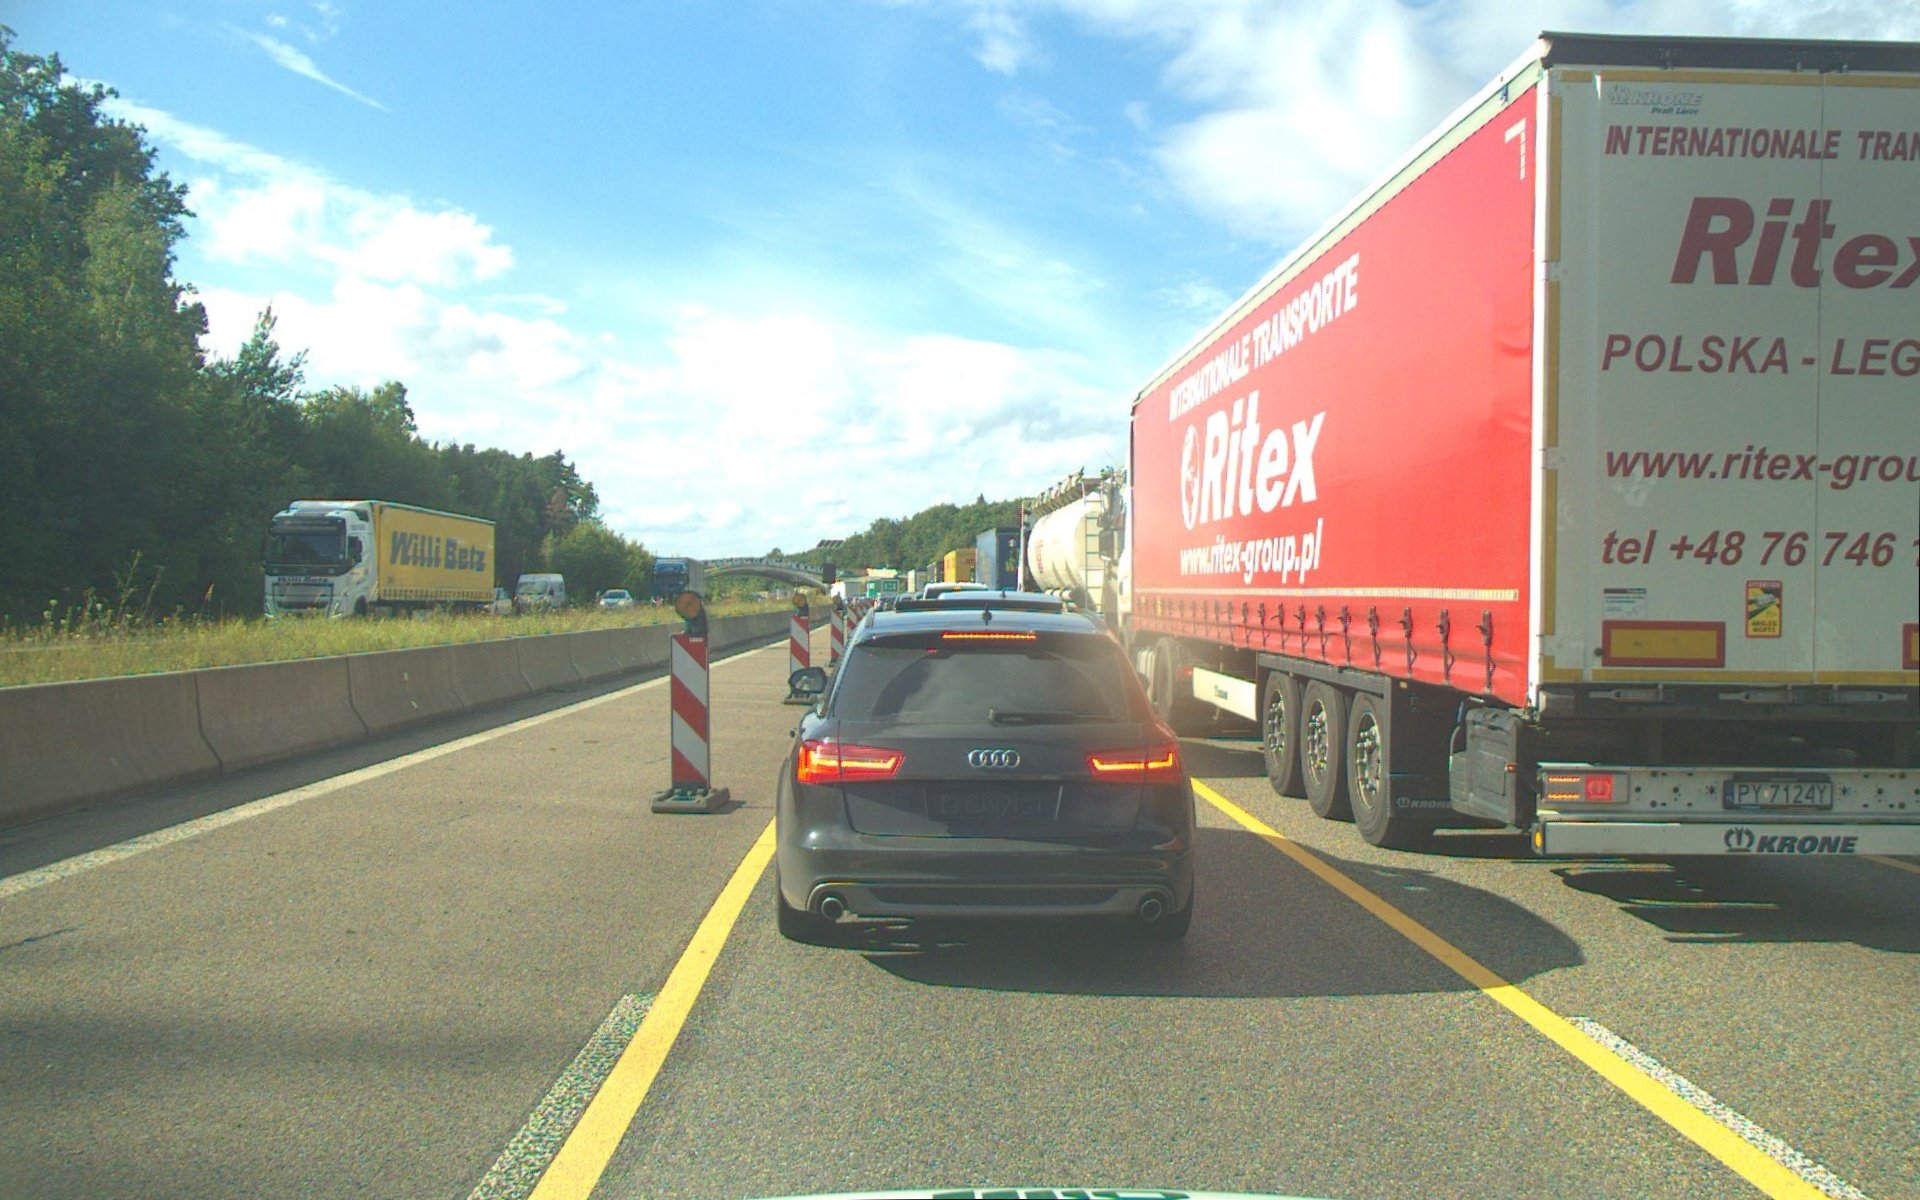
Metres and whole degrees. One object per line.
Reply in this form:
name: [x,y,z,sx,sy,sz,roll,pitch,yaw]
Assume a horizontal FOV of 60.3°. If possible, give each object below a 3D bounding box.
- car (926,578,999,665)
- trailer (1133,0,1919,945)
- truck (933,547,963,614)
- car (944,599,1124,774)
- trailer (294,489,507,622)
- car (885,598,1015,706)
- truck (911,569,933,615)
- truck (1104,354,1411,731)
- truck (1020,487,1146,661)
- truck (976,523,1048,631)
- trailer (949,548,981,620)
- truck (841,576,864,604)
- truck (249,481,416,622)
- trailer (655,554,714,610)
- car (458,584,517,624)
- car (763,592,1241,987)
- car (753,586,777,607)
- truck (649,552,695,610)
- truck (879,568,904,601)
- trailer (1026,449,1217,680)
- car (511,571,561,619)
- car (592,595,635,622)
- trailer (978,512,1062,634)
car: [0.024,0.477,37.430,1.549,1.869,3.111,1,0,-1]
trailer: [3.646,-0.576,13.746,2.645,4.038,13.413,1,0,-1]
truck: [-0.972,-1.461,127.959,1.953,5.000,9.558,1,0,-2]
car: [0.613,0.745,15.692,1.493,1.464,3.284,1,0,-1]
trailer: [-18.968,-1.324,57.381,2.770,3.991,13.937,1,0,-1]
car: [-0.164,0.710,23.965,1.716,1.421,3.607,1,0,-1]
truck: [-3.670,-0.764,160.250,2.094,4.332,7.069,1,0,-1]
truck: [3.463,-0.625,20.687,2.614,4.029,5.709,1,0,-2]
truck: [3.010,-0.601,41.875,2.605,4.041,5.777,1,0,-1]
truck: [2.201,-0.947,73.260,2.749,4.446,7.790,1,0,-1]
trailer: [0.256,-0.864,94.631,1.584,3.987,6.487,1,0,-2]
truck: [-16.688,-1.597,256.756,3.239,4.248,9.692,1,0,-5]
truck: [-18.858,-1.360,50.097,2.769,3.977,5.947,1,0,-1]
trailer: [-21.914,-1.420,132.239,2.566,4.214,13.370,1,0,-1]
car: [-24.891,0.213,87.192,1.953,2.049,3.999,1,0,-1]
car: [0.136,0.733,8.290,1.811,1.489,3.999,1,0,-1]
car: [-19.031,-0.362,161.643,1.954,1.982,3.998,1,0,-3]
truck: [-21.809,-1.420,125.508,2.584,4.262,5.466,1,0,-1]
truck: [-9.274,-2.045,223.581,3.238,4.248,9.696,1,0,-3]
trailer: [3.094,-0.629,35.347,2.590,4.012,12.595,1,0,-1]
car: [-24.839,-0.257,97.056,2.208,2.689,5.010,1,0,-8]
car: [-20.783,0.504,99.267,1.751,1.588,3.999,1,0,-1]
trailer: [2.294,-0.976,66.627,2.748,4.490,10.430,1,0,-1]
